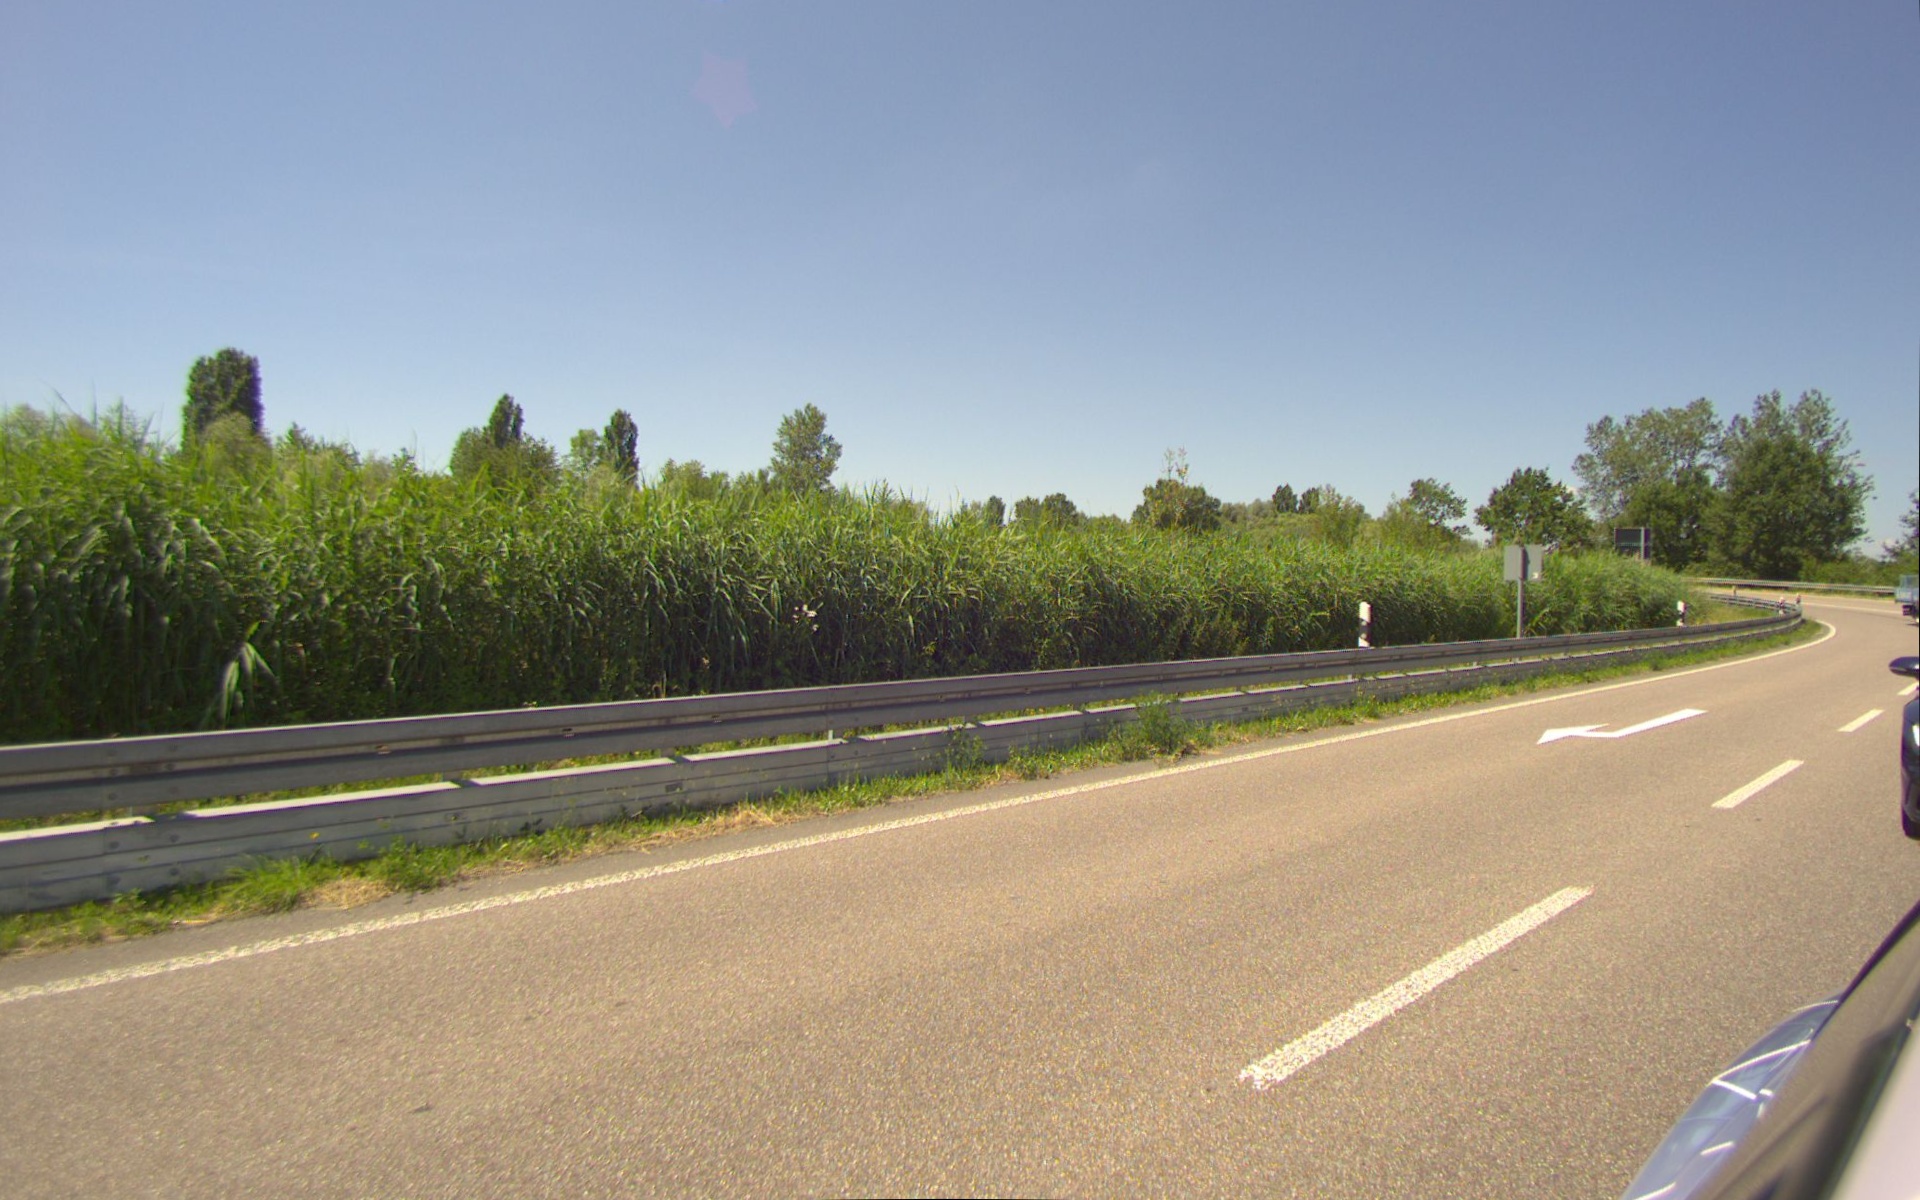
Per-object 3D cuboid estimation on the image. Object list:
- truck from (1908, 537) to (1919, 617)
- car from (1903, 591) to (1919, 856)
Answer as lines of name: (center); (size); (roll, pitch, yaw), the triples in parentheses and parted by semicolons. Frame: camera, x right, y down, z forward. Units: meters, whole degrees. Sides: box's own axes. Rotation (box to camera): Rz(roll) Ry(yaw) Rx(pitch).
truck: (37.323, -0.855, 37.146); (2.562, 3.108, 8.962); (1, 1, 36)
car: (7.183, 0.651, 6.156); (3.931, 1.427, 1.759); (-1, 1, -42)
